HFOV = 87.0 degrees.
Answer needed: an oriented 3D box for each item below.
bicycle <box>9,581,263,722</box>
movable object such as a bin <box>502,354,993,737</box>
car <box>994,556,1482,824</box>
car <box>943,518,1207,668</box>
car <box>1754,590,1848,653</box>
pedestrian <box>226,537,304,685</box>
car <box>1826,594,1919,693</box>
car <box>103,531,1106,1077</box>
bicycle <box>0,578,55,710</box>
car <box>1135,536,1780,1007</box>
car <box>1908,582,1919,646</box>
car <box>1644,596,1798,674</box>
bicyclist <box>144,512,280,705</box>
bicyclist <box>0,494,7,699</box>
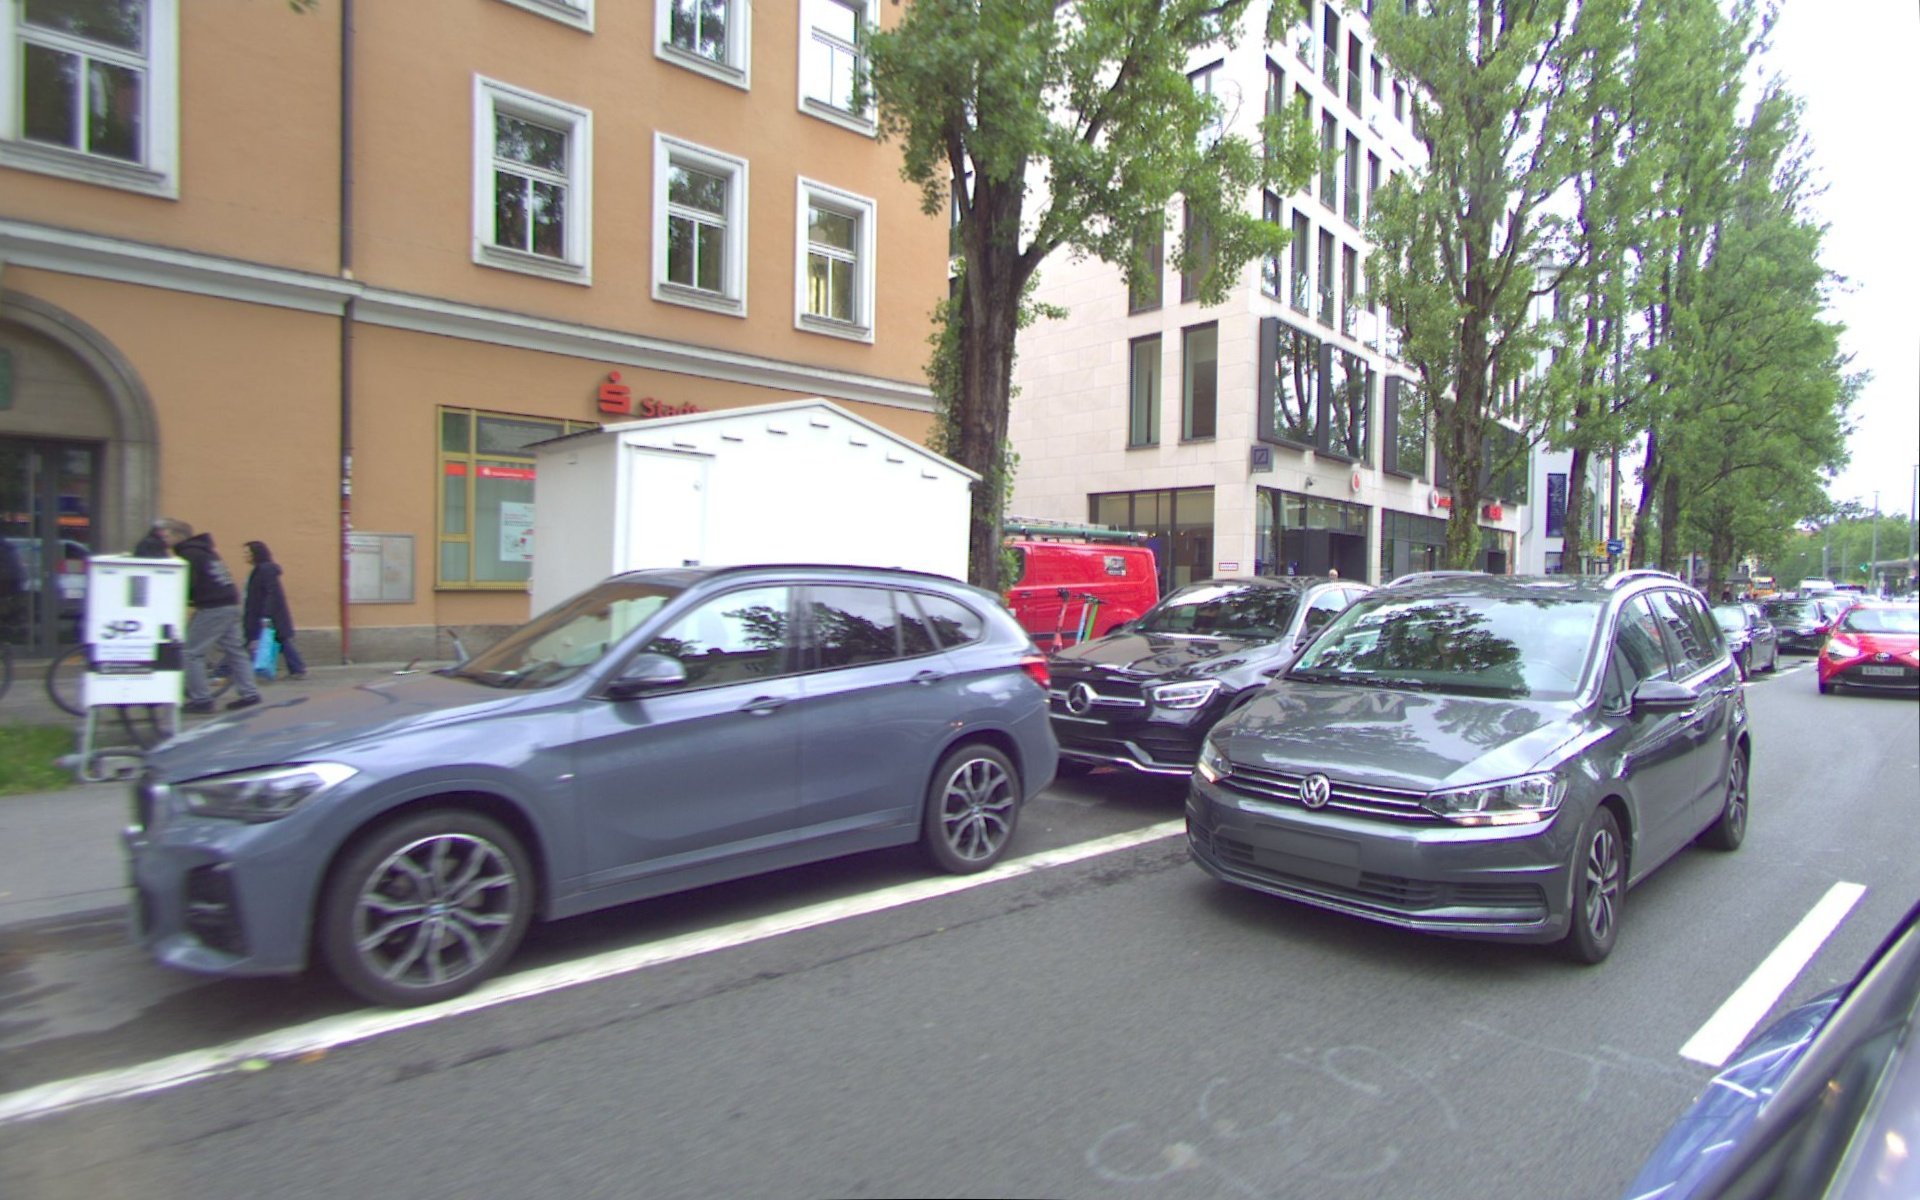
[{"bbox_3d":[-7.472,0.402,9.335,0.723,1.134,2.104,1,1,-3],"label":"bicycle"},{"bbox_3d":[-2.154,-0.514,10.791,4.464,3.175,2.445,0,3,-41],"label":"movable object such as a bin"},{"bbox_3d":[2.481,0.532,8.331,4.421,1.634,1.787,0,0,-42],"label":"car"},{"bbox_3d":[1.857,-0.120,16.142,3.919,2.149,1.687,0,1,-29],"label":"car"},{"bbox_3d":[22.707,0.523,27.265,1.696,1.535,3.937,0,0,43],"label":"car"},{"bbox_3d":[-7.797,0.114,11.343,0.652,1.590,0.745,-1,0,-40],"label":"pedestrian"},{"bbox_3d":[15.441,0.638,16.417,3.934,1.451,1.614,0,0,-42],"label":"car"},{"bbox_3d":[-1.383,0.570,5.072,4.421,1.572,1.787,0,0,-42],"label":"car"},{"bbox_3d":[-8.715,0.392,8.273,0.870,1.134,2.104,1,1,-5],"label":"bicycle"},{"bbox_3d":[2.972,0.568,5.573,4.122,1.611,1.879,0,1,-43],"label":"car"},{"bbox_3d":[27.607,0.377,28.197,1.702,1.714,3.941,0,0,43],"label":"car"},{"bbox_3d":[15.008,0.613,19.886,3.934,1.378,1.698,0,1,-42],"label":"car"},{"bbox_3d":[-6.901,0.071,9.376,0.734,1.708,0.742,1,1,-5],"label":"bicyclist"},{"bbox_3d":[-8.717,-0.031,8.486,0.814,1.779,0.668,1,1,-5],"label":"bicyclist"}]
